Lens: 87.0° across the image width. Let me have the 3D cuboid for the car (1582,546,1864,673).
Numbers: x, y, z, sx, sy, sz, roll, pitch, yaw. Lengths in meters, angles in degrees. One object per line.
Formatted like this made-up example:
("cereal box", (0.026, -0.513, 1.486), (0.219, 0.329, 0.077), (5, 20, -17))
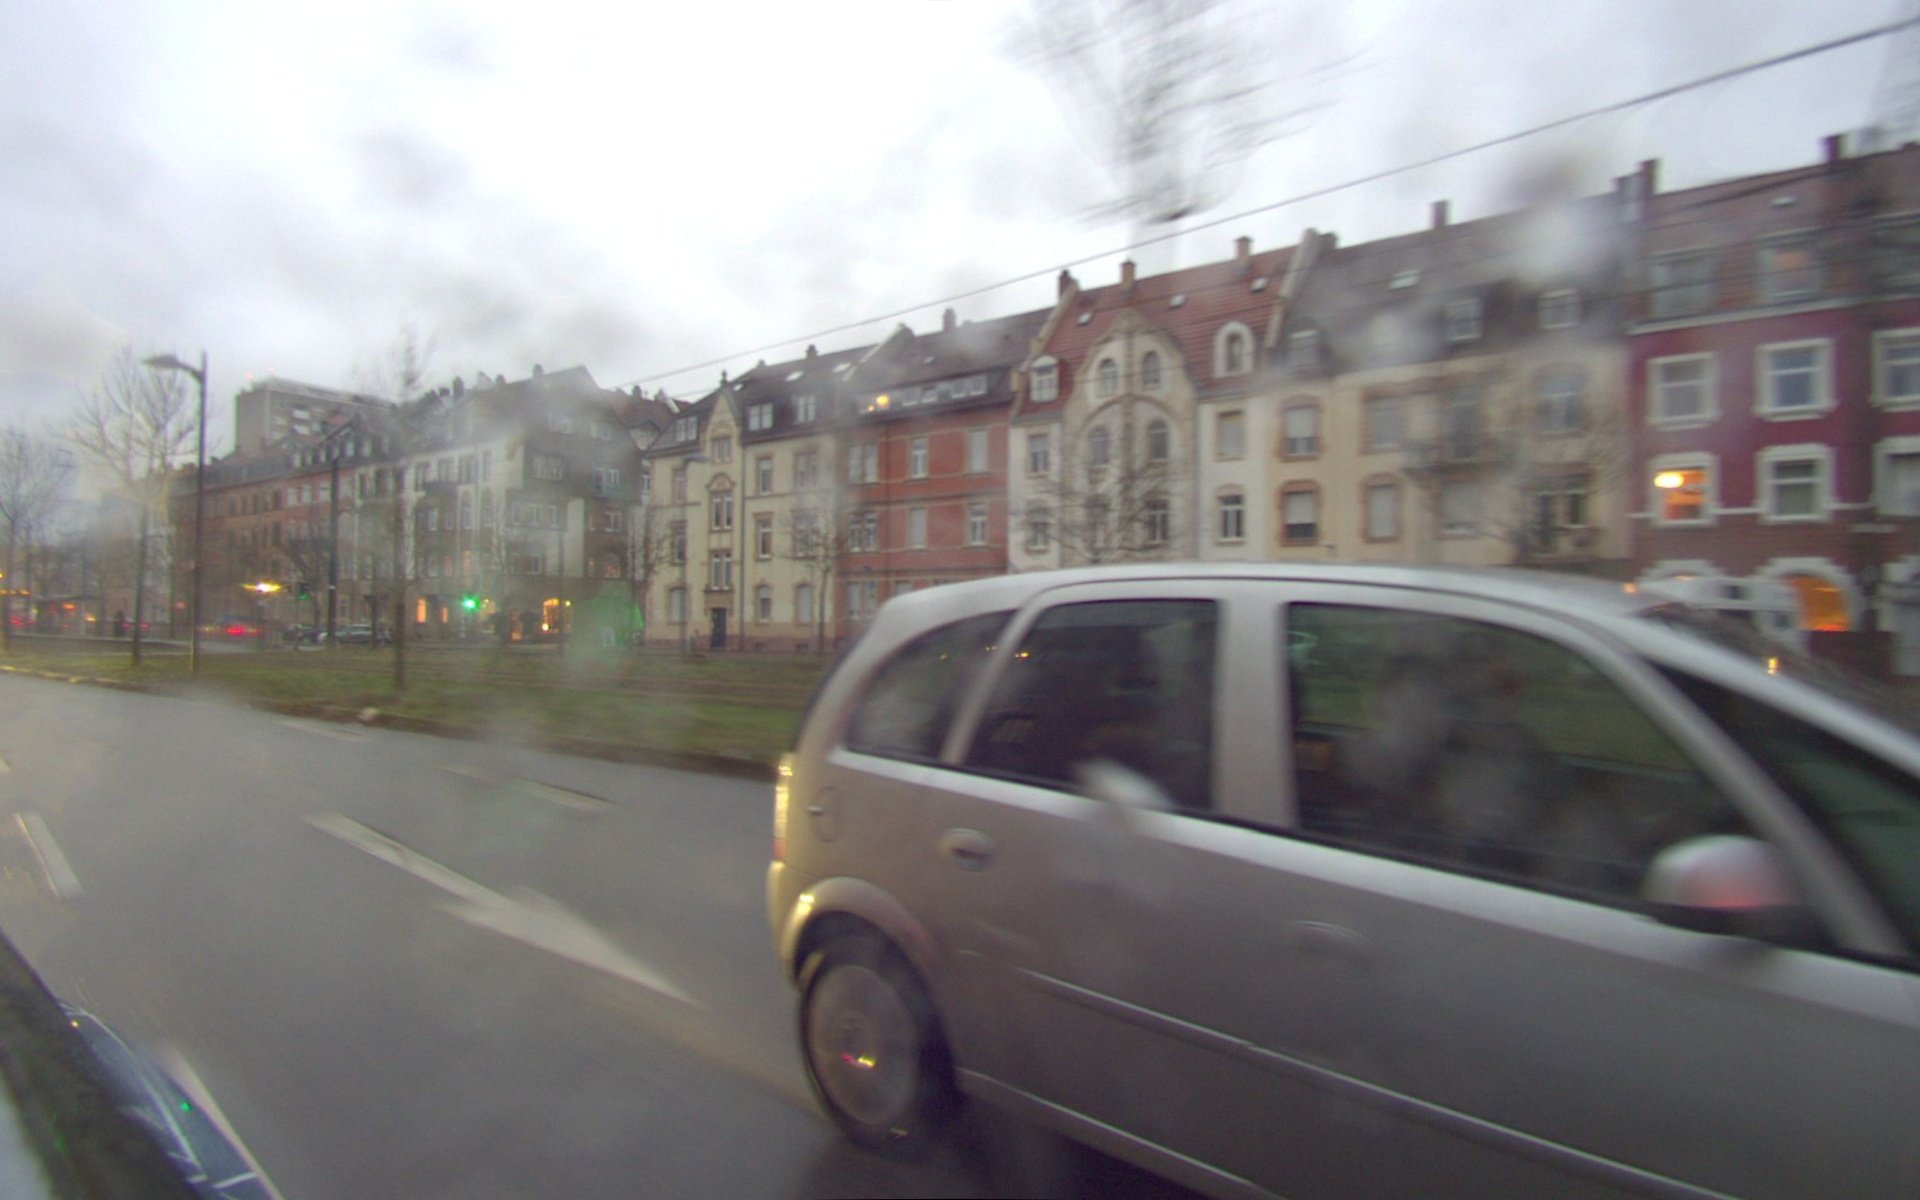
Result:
("car", (18.160, 0.281, 24.169), (5.770, 2.819, 2.005), (1, -2, -12))

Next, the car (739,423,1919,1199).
("car", (1.417, 0.573, 2.473), (4.052, 1.612, 1.790), (-1, -1, 41))

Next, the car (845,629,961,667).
("car", (-2.140, 1.787, 37.731), (3.931, 1.342, 2.006), (1, -2, -17))

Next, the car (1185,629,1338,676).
("car", (8.987, 1.558, 30.243), (3.931, 1.342, 2.006), (1, -2, -19))

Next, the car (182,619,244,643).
("car", (-47.088, 1.959, 63.782), (4.691, 1.464, 1.847), (-1, -3, 37))

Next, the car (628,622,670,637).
("car", (-24.078, 2.277, 78.316), (1.329, 1.083, 2.864), (-1, -3, 36))

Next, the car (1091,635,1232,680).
("car", (6.435, 1.830, 32.462), (3.931, 1.342, 2.006), (1, -2, -18))

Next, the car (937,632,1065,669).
("car", (1.391, 1.717, 34.630), (3.932, 1.178, 2.006), (1, -2, -15))
